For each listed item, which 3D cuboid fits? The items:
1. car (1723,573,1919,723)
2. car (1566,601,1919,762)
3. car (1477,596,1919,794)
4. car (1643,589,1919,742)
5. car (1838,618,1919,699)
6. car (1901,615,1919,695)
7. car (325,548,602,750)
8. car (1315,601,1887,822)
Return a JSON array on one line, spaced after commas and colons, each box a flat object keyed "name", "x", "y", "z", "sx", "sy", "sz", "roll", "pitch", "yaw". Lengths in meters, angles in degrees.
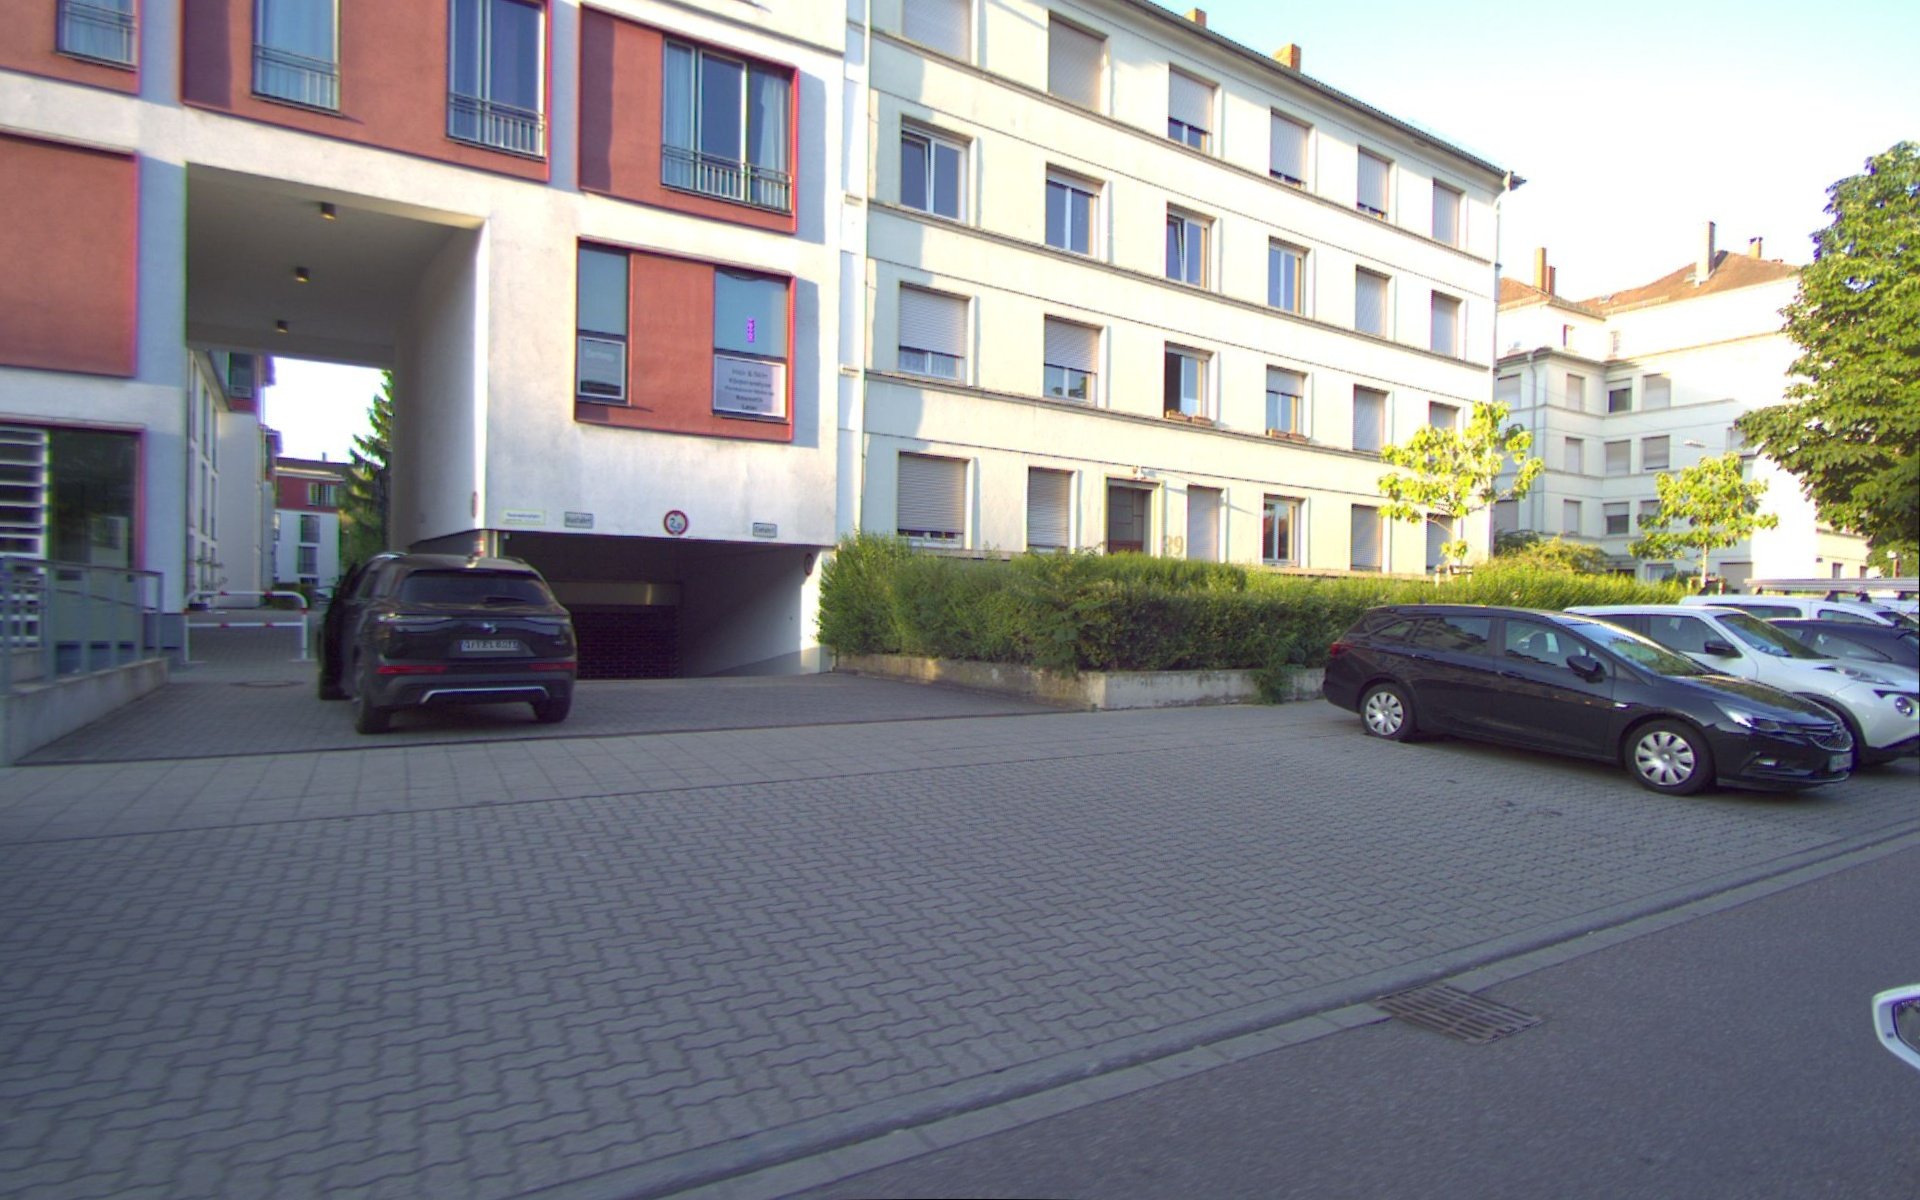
[{"name": "car", "x": 14.670, "y": 0.722, "z": 15.214, "sx": 1.975, "sy": 2.098, "sz": 4.493, "roll": 0, "pitch": 3, "yaw": -28}, {"name": "car", "x": 10.283, "y": 0.908, "z": 12.808, "sx": 1.736, "sy": 1.504, "sz": 3.964, "roll": 1, "pitch": 3, "yaw": -32}, {"name": "car", "x": 8.298, "y": 0.852, "z": 11.159, "sx": 1.792, "sy": 1.642, "sz": 4.222, "roll": 1, "pitch": 1, "yaw": -30}, {"name": "car", "x": 12.318, "y": 0.836, "z": 13.825, "sx": 1.920, "sy": 1.826, "sz": 4.402, "roll": 1, "pitch": 1, "yaw": -29}, {"name": "car", "x": 18.790, "y": 1.150, "z": 17.931, "sx": 1.829, "sy": 1.424, "sz": 4.306, "roll": 1, "pitch": 1, "yaw": -29}, {"name": "car", "x": 20.929, "y": 1.137, "z": 19.207, "sx": 1.708, "sy": 1.604, "sz": 3.969, "roll": 1, "pitch": 0, "yaw": -29}, {"name": "car", "x": -5.293, "y": 0.392, "z": 10.424, "sx": 1.981, "sy": 1.656, "sz": 3.960, "roll": 0, "pitch": 0, "yaw": -36}, {"name": "car", "x": 5.949, "y": 0.864, "z": 9.938, "sx": 1.808, "sy": 1.471, "sz": 4.382, "roll": 1, "pitch": 2, "yaw": -32}]
